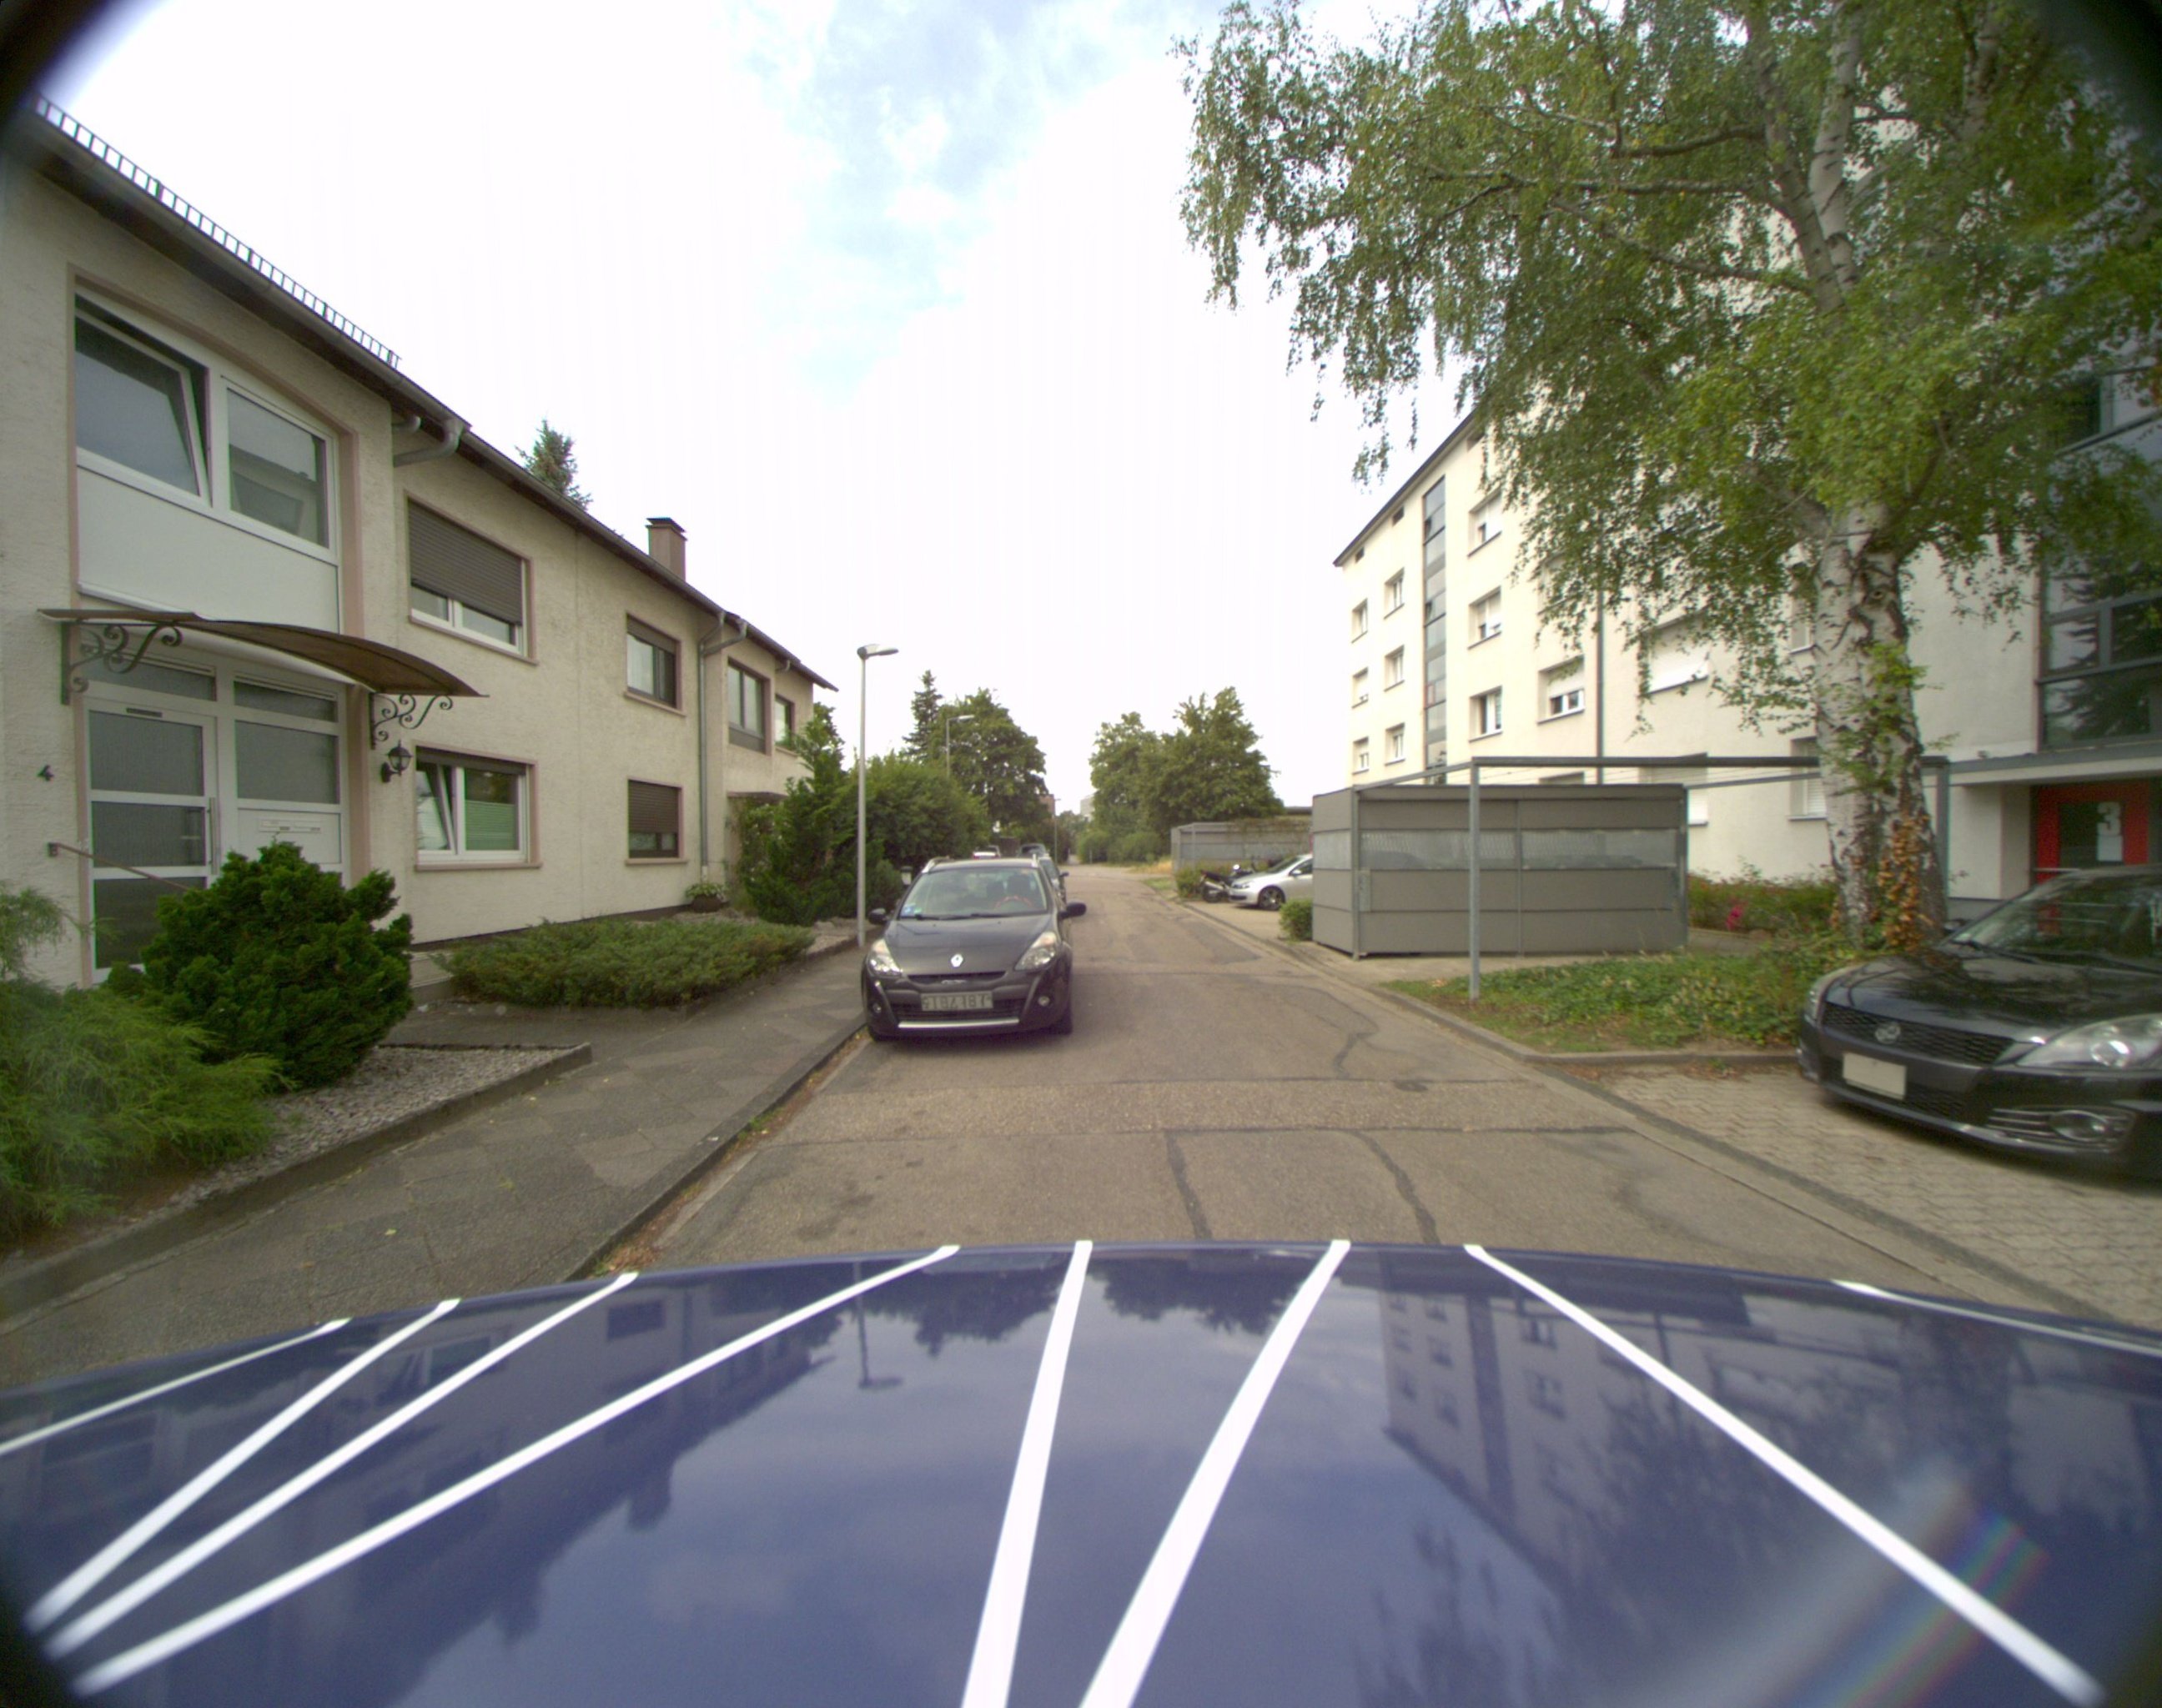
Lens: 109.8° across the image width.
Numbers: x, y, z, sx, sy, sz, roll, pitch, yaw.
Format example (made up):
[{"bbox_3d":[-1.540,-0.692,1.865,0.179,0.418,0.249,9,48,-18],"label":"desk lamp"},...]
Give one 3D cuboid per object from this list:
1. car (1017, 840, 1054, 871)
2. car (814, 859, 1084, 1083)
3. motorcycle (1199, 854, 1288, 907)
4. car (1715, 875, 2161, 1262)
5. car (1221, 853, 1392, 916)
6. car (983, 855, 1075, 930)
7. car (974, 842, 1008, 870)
[{"bbox_3d":[-2.574,0.048,43.168,1.926,1.576,3.998,-2,1,-3],"label":"car"},{"bbox_3d":[-1.012,0.828,7.404,1.834,1.449,4.188,-2,1,-3],"label":"car"},{"bbox_3d":[4.686,0.754,22.009,2.383,1.456,0.714,1,1,-1],"label":"motorcycle"},{"bbox_3d":[6.095,0.900,3.986,4.062,1.496,1.781,0,1,-1],"label":"car"},{"bbox_3d":[5.934,0.782,20.355,3.997,1.477,1.902,1,1,1],"label":"car"},{"bbox_3d":[-1.168,0.784,17.680,1.834,1.449,4.188,-2,1,-3],"label":"car"},{"bbox_3d":[-5.129,0.079,43.748,1.705,1.458,3.997,0,2,-3],"label":"car"}]
